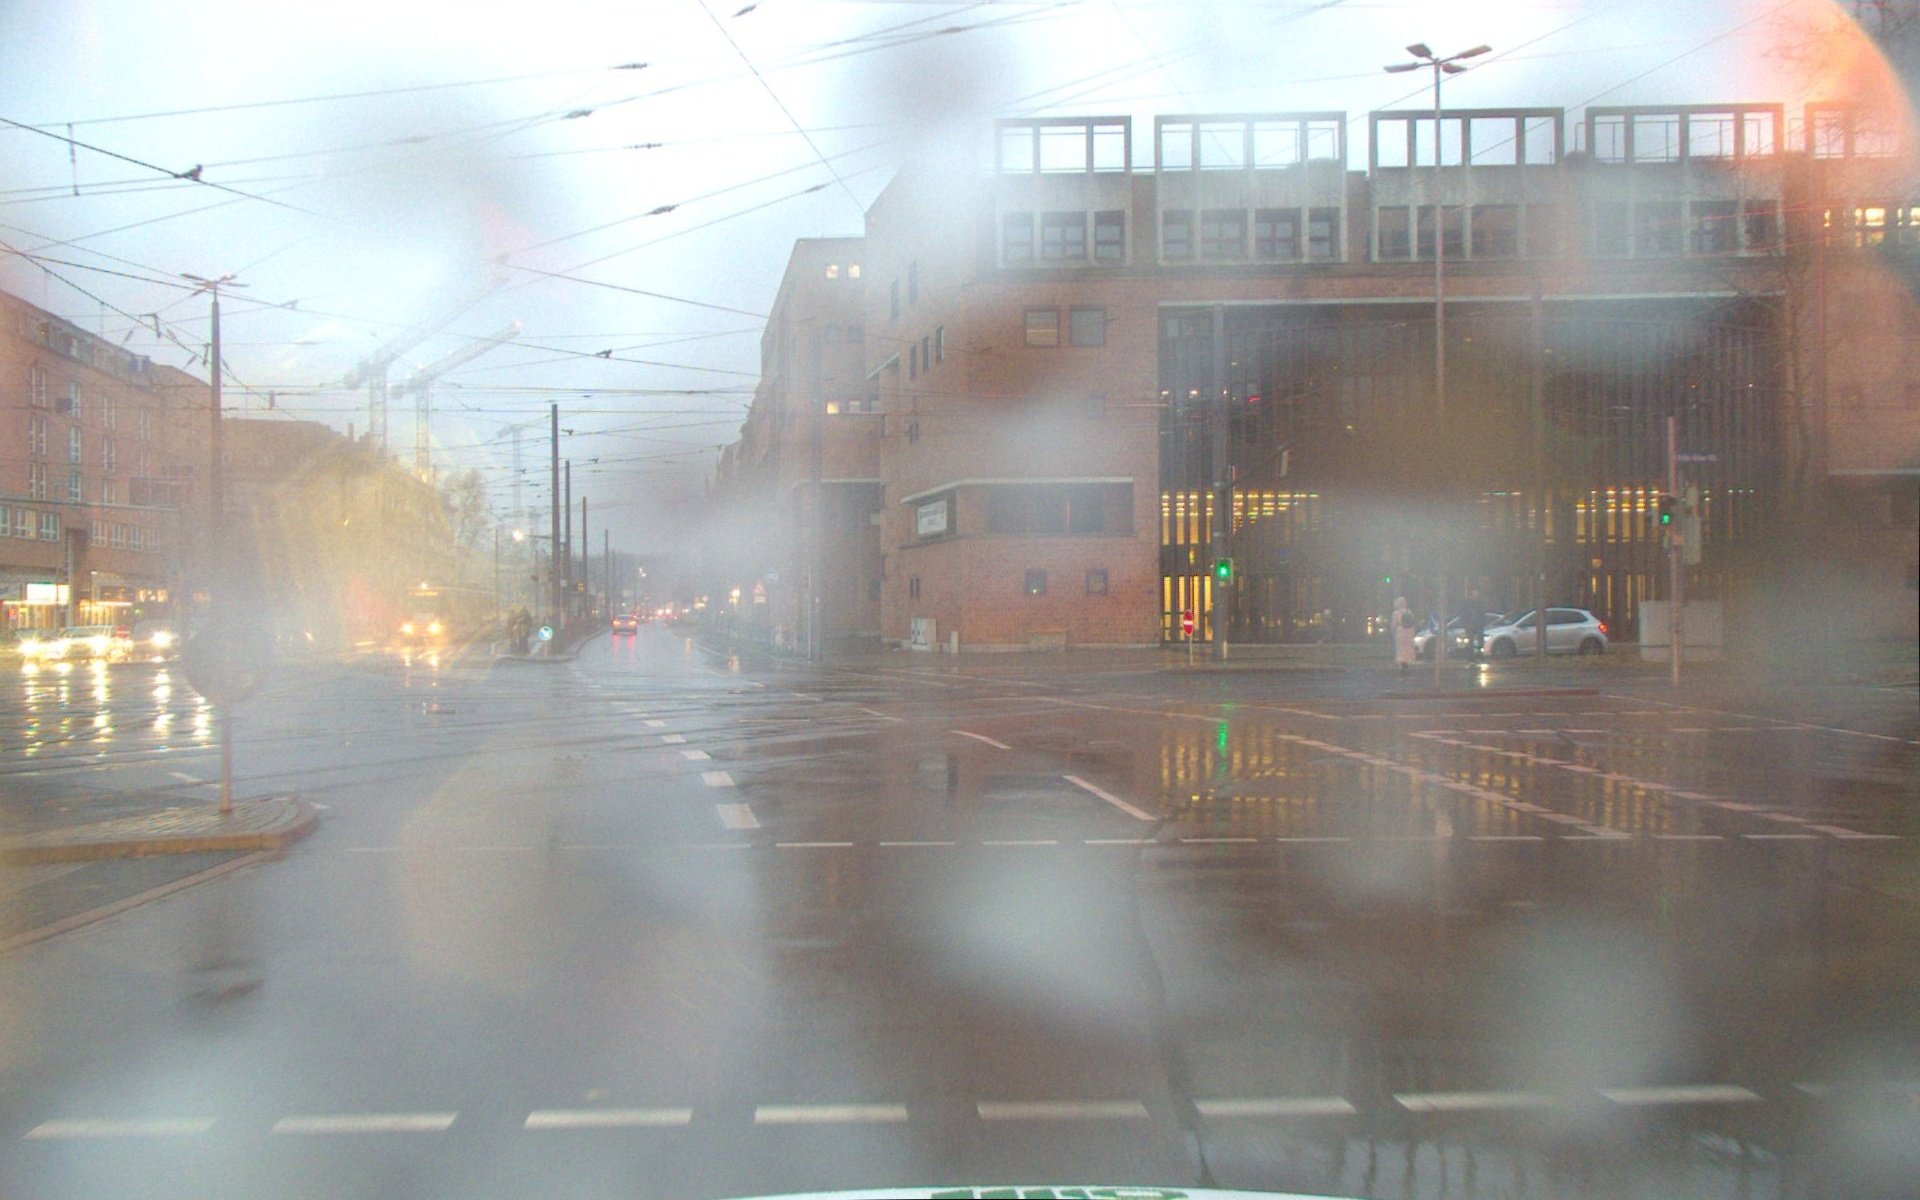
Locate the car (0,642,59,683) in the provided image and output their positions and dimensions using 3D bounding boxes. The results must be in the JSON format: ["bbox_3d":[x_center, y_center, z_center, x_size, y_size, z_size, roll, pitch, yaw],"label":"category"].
[{"bbox_3d":[-37.689,2.490,66.446,1.553,1.521,3.587,-1,0,-10],"label":"car"}]

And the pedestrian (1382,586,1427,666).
[{"bbox_3d":[10.276,0.603,38.214,0.721,1.818,0.732,-1,-1,-14],"label":"pedestrian"}]

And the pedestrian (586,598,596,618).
[{"bbox_3d":[-27.845,0.620,124.753,0.670,1.542,0.614,1,-1,-23],"label":"pedestrian"}]

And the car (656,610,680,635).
[{"bbox_3d":[-25.004,1.919,141.720,1.957,2.049,3.992,-1,0,-9],"label":"car"}]

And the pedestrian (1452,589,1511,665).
[{"bbox_3d":[12.739,0.653,40.426,1.128,1.818,0.775,-1,-1,-10],"label":"pedestrian"}]

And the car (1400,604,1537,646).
[{"bbox_3d":[16.542,0.803,53.889,3.907,1.333,1.810,0,-1,-9],"label":"car"}]

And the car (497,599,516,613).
[{"bbox_3d":[-47.373,0.638,172.721,1.652,1.378,3.535,1,-1,-12],"label":"car"}]

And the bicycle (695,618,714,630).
[{"bbox_3d":[-23.082,2.166,149.299,1.699,1.073,0.370,-2,0,-13],"label":"bicycle"}]

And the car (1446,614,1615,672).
[{"bbox_3d":[15.363,1.139,44.619,3.907,1.364,1.811,-2,0,-8],"label":"car"}]

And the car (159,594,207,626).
[{"bbox_3d":[-51.698,0.670,110.110,1.958,2.049,3.989,1,-1,-11],"label":"car"}]

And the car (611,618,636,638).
[{"bbox_3d":[-26.383,2.175,129.787,1.751,1.492,3.142,-1,0,-9],"label":"car"}]

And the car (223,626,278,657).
[{"bbox_3d":[-32.938,1.898,76.859,1.652,1.378,3.535,1,-1,-12],"label":"car"}]

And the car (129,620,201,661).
[{"bbox_3d":[-36.041,1.814,75.058,1.796,1.739,4.692,0,0,-11],"label":"car"}]

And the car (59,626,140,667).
[{"bbox_3d":[-34.647,1.849,66.700,1.637,1.521,4.191,-1,0,-10],"label":"car"}]

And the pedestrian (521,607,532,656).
[{"bbox_3d":[-16.579,1.211,63.284,0.405,1.878,0.667,0,-1,-16],"label":"pedestrian"}]

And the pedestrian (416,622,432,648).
[{"bbox_3d":[-24.091,1.569,74.360,0.569,1.173,0.489,1,-1,-10],"label":"pedestrian"}]

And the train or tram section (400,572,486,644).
[{"bbox_3d":[-28.164,0.462,90.669,2.897,3.652,12.224,1,-1,-10],"label":"train or tram section"}]

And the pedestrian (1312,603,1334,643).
[{"bbox_3d":[13.170,0.832,59.999,0.721,1.413,0.738,-1,0,10],"label":"pedestrian"}]
